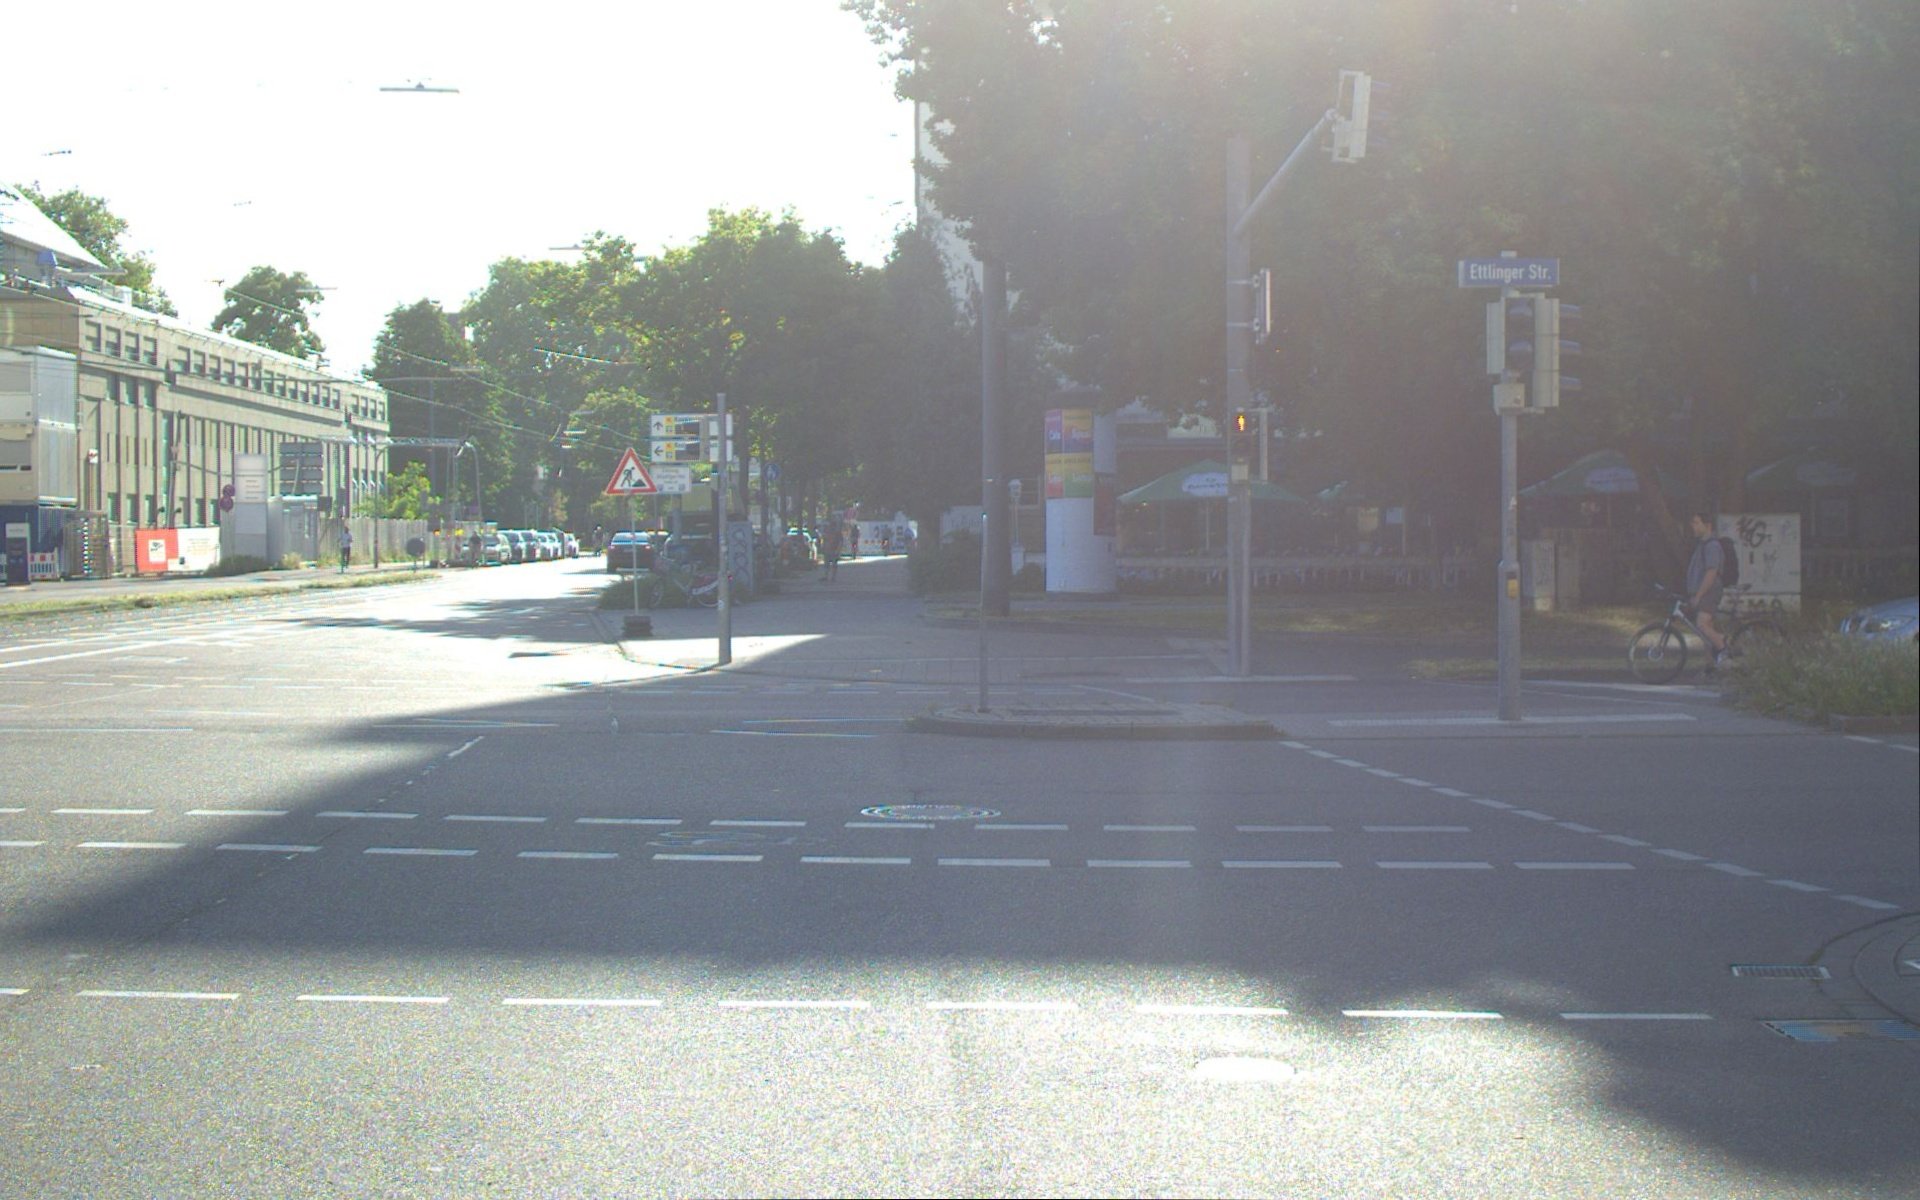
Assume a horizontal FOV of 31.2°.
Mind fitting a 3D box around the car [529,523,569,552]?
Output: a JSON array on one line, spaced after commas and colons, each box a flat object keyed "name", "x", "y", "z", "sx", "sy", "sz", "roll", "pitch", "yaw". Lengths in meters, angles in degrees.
[{"name": "car", "x": -23.253, "y": -3.536, "z": 194.695, "sx": 1.993, "sy": 1.638, "sz": 4.001, "roll": -1, "pitch": 1, "yaw": -4}]

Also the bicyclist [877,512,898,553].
[{"name": "bicyclist", "x": -3.615, "y": -3.369, "z": 170.973, "sx": 0.890, "sy": 2.007, "sz": 0.749, "roll": 1, "pitch": 0, "yaw": -12}]

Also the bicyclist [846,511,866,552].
[{"name": "bicyclist", "x": -5.161, "y": -3.386, "z": 170.478, "sx": 0.890, "sy": 2.007, "sz": 0.749, "roll": 1, "pitch": 0, "yaw": -12}]

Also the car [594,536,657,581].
[{"name": "car", "x": -12.463, "y": -1.541, "z": 128.278, "sx": 1.993, "sy": 1.634, "sz": 4.000, "roll": 1, "pitch": 1, "yaw": -1}]

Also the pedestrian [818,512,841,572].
[{"name": "pedestrian", "x": -3.713, "y": -1.650, "z": 97.643, "sx": 0.576, "sy": 1.683, "sz": 0.585, "roll": -1, "pitch": 1, "yaw": -8}]

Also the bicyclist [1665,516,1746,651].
[{"name": "bicyclist", "x": 7.888, "y": -0.177, "z": 36.382, "sx": 0.747, "sy": 1.401, "sz": 0.702, "roll": 1, "pitch": 0, "yaw": 6}]

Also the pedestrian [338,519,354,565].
[{"name": "pedestrian", "x": -25.376, "y": -2.387, "z": 142.077, "sx": 0.587, "sy": 1.883, "sz": 0.478, "roll": 1, "pitch": 0, "yaw": -7}]

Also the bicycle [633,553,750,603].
[{"name": "bicycle", "x": -5.252, "y": -0.428, "z": 67.212, "sx": 2.244, "sy": 0.937, "sz": 0.654, "roll": -1, "pitch": 1, "yaw": -5}]

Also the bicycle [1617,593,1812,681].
[{"name": "bicycle", "x": 7.970, "y": 0.386, "z": 36.383, "sx": 1.944, "sy": 0.886, "sz": 0.718, "roll": 1, "pitch": 0, "yaw": 6}]

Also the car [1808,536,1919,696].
[{"name": "car", "x": 10.834, "y": 0.173, "z": 33.576, "sx": 4.576, "sy": 1.511, "sz": 2.000, "roll": 1, "pitch": 0, "yaw": 0}]

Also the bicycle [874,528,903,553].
[{"name": "bicycle", "x": -3.555, "y": -2.969, "z": 170.636, "sx": 0.890, "sy": 1.215, "sz": 2.794, "roll": 1, "pitch": 1, "yaw": -12}]

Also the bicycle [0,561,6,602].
[{"name": "bicycle", "x": -19.636, "y": -0.360, "z": 68.699, "sx": 0.572, "sy": 0.820, "sz": 1.718, "roll": 0, "pitch": 1, "yaw": 3}]

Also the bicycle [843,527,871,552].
[{"name": "bicycle", "x": -5.110, "y": -2.987, "z": 170.272, "sx": 0.890, "sy": 1.215, "sz": 2.794, "roll": 1, "pitch": 1, "yaw": -12}]
